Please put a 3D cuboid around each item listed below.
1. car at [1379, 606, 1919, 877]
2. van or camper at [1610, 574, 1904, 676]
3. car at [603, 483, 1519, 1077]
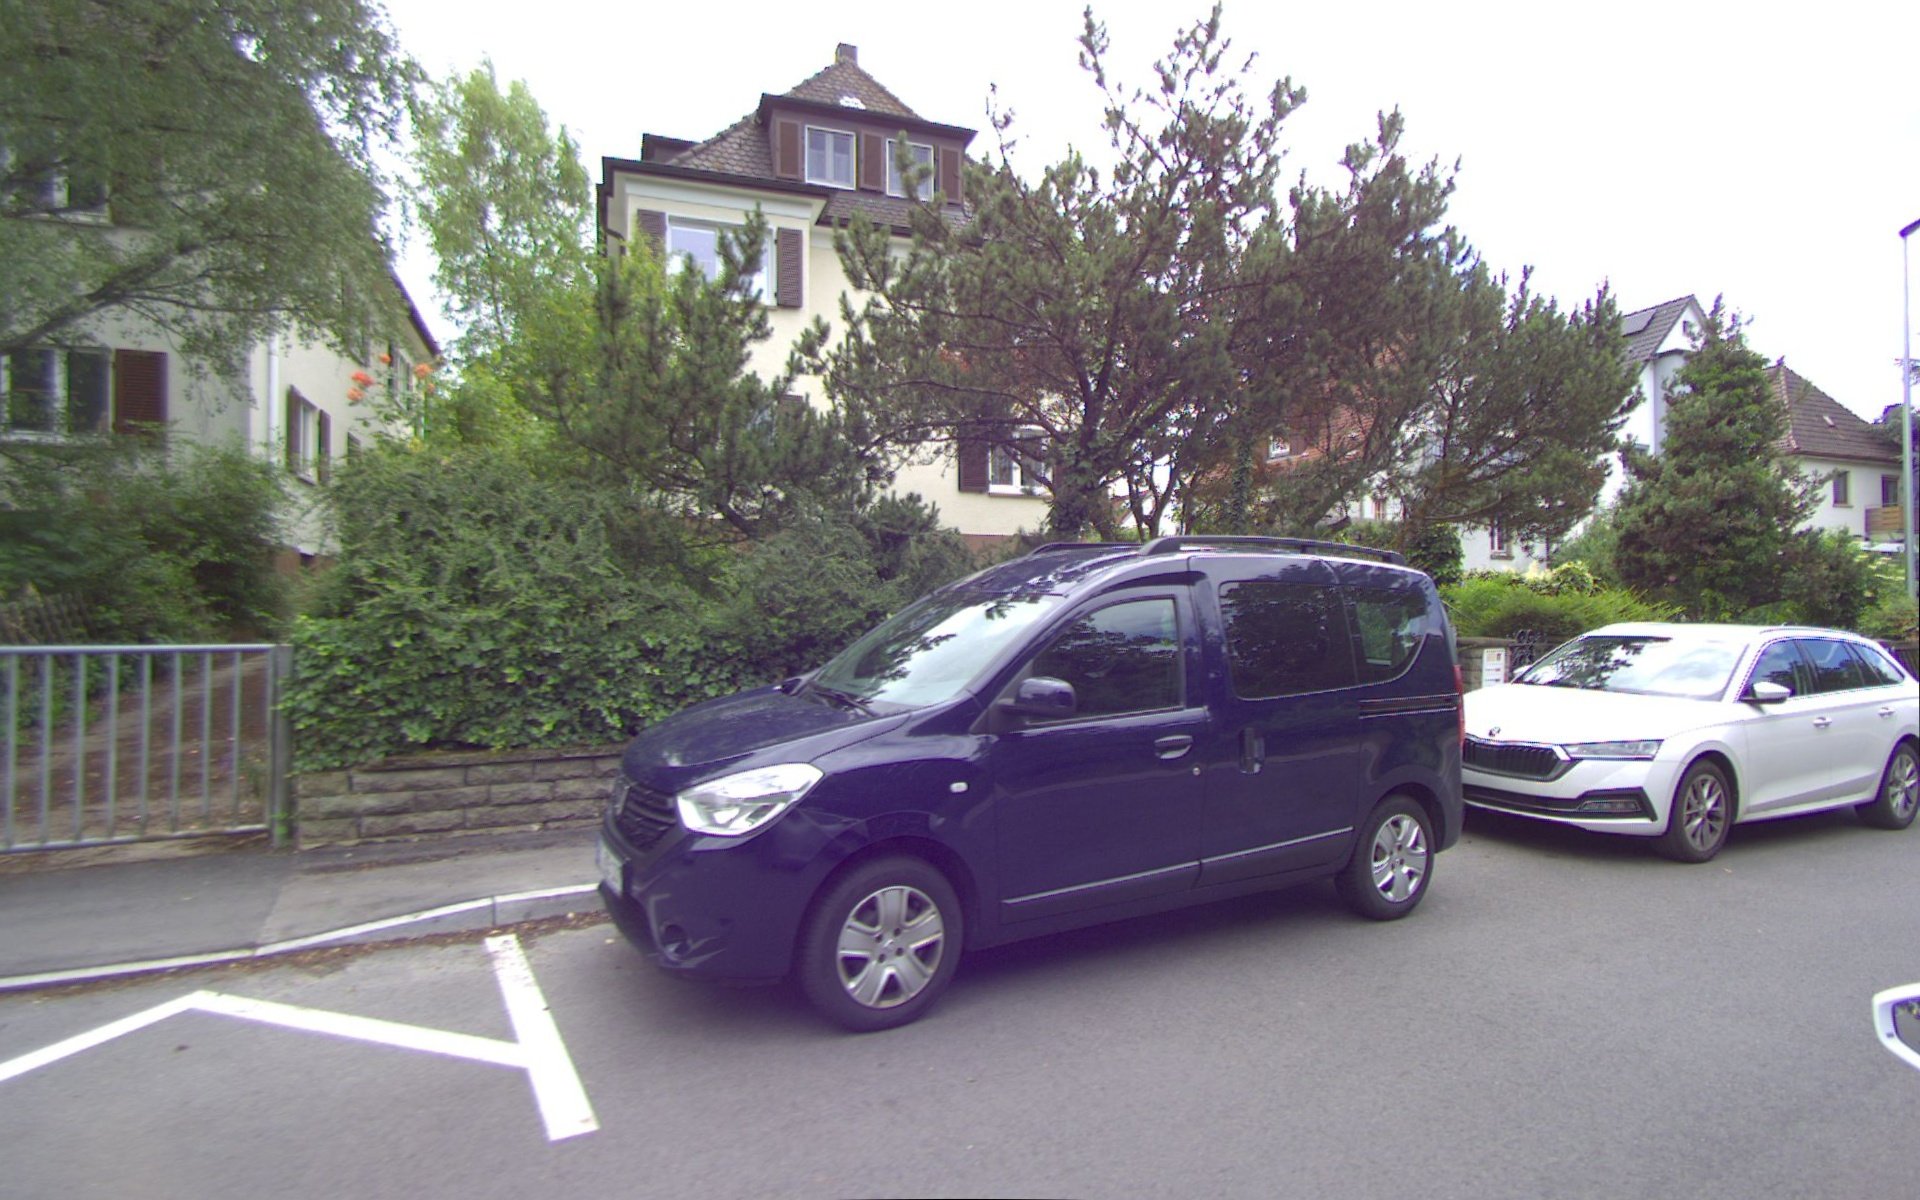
[{"bbox_3d":[5.397,0.848,7.515,4.496,1.531,1.700,1,-1,-28],"label":"car"},{"bbox_3d":[23.445,0.614,30.046,2.288,2.686,6.671,1,1,-19],"label":"van or camper"},{"bbox_3d":[0.632,0.592,4.889,4.246,1.823,1.699,1,-1,-30],"label":"car"}]
